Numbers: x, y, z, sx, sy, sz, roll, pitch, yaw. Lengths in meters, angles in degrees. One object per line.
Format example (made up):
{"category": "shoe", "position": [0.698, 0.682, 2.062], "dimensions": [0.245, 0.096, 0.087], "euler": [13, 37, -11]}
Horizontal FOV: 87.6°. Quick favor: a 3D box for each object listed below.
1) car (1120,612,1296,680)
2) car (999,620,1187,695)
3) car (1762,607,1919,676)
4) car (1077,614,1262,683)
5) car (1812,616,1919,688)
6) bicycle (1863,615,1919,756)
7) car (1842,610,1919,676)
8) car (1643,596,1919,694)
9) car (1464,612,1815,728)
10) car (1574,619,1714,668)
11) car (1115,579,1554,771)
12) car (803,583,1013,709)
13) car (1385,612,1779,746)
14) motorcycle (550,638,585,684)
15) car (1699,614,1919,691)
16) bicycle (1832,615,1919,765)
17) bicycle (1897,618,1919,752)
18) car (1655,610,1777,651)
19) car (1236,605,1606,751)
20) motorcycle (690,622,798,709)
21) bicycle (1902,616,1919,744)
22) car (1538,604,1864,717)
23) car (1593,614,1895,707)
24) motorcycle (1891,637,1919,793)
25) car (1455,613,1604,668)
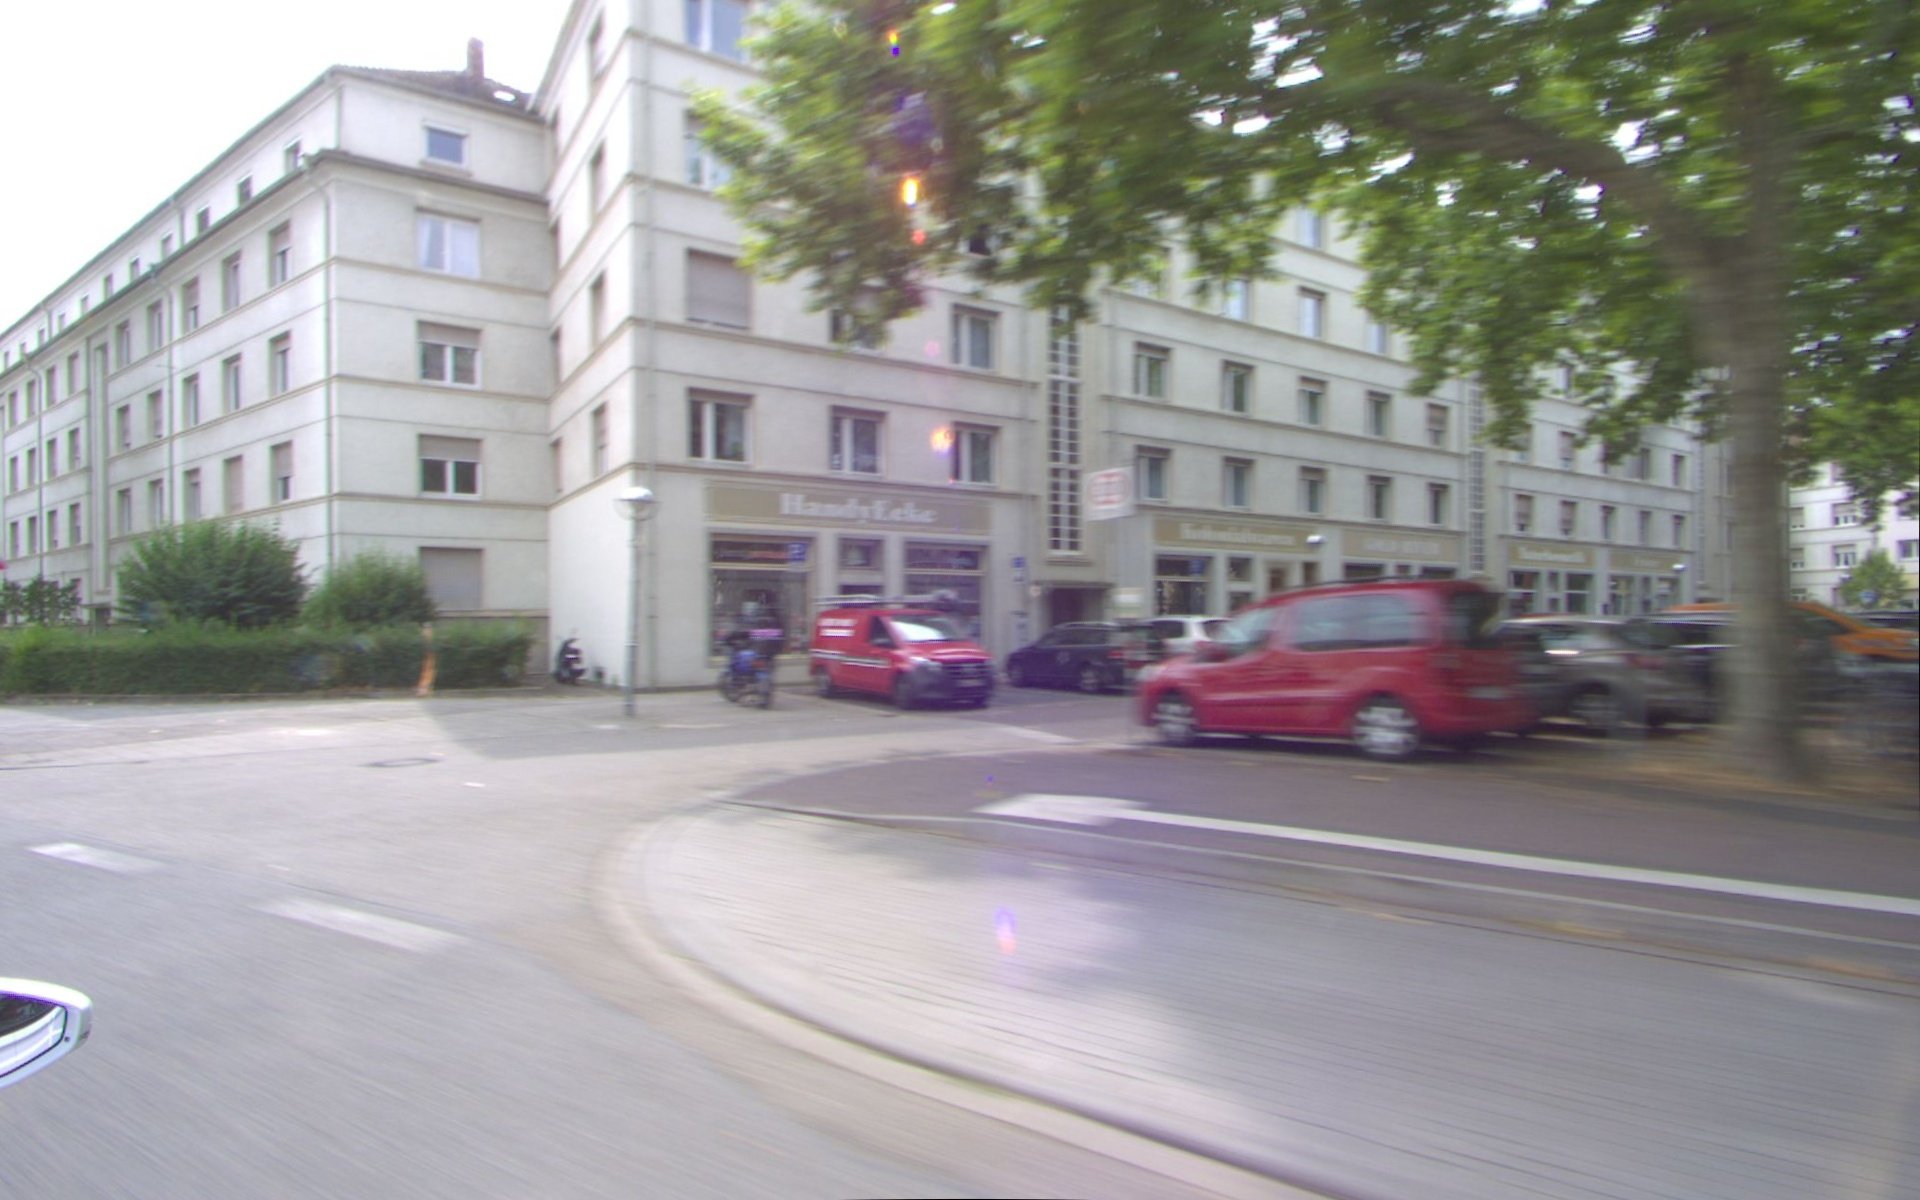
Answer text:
{"category": "car", "position": [6.310, 1.146, 25.909], "dimensions": [1.974, 1.611, 4.168], "euler": [0, -2, -34]}
{"category": "car", "position": [2.919, 1.244, 22.793], "dimensions": [1.974, 1.523, 4.168], "euler": [0, -2, -34]}
{"category": "car", "position": [20.790, 0.905, 22.490], "dimensions": [1.976, 1.483, 3.971], "euler": [0, -2, -37]}
{"category": "car", "position": [4.943, 1.129, 24.142], "dimensions": [1.974, 1.506, 4.168], "euler": [0, -2, -34]}
{"category": "car", "position": [22.989, 1.200, 23.545], "dimensions": [1.976, 1.639, 4.174], "euler": [0, -1, -37]}
{"category": "bicycle", "position": [9.973, 0.833, 9.359], "dimensions": [0.414, 1.396, 2.302], "euler": [0, -1, -25]}
{"category": "car", "position": [25.291, 1.083, 25.461], "dimensions": [1.975, 1.661, 3.972], "euler": [0, -1, -36]}
{"category": "car", "position": [16.452, 0.848, 19.780], "dimensions": [1.976, 1.717, 4.527], "euler": [0, -1, -37]}
{"category": "car", "position": [10.077, 0.964, 15.104], "dimensions": [1.976, 1.483, 3.971], "euler": [0, -2, -37]}
{"category": "car", "position": [26.008, 1.634, 38.190], "dimensions": [1.975, 1.750, 3.973], "euler": [0, -2, -35]}
{"category": "car", "position": [3.989, 0.745, 11.317], "dimensions": [1.916, 1.728, 4.299], "euler": [0, -2, -37]}
{"category": "car", "position": [-1.183, 0.872, 19.956], "dimensions": [1.974, 2.177, 4.813], "euler": [0, -2, -34]}
{"category": "car", "position": [8.083, 0.945, 13.414], "dimensions": [1.728, 1.483, 4.159], "euler": [0, -1, -33]}
{"category": "motorcycle", "position": [-9.377, 1.446, 23.897], "dimensions": [0.428, 1.029, 1.438], "euler": [0, 0, -36]}
{"category": "car", "position": [18.392, 1.069, 21.253], "dimensions": [1.976, 1.483, 3.971], "euler": [0, -2, -37]}
{"category": "bicycle", "position": [9.415, 0.851, 9.068], "dimensions": [0.414, 1.396, 2.302], "euler": [0, 0, -25]}
{"category": "bicycle", "position": [10.560, 0.857, 9.598], "dimensions": [0.414, 1.396, 2.303], "euler": [0, -1, -25]}
{"category": "car", "position": [33.972, 1.374, 45.062], "dimensions": [1.975, 1.750, 3.973], "euler": [0, -2, -35]}
{"category": "car", "position": [5.777, 0.901, 12.964], "dimensions": [1.811, 1.572, 3.971], "euler": [0, -1, -37]}
{"category": "motorcycle", "position": [-3.997, 1.160, 18.412], "dimensions": [2.281, 1.481, 0.827], "euler": [0, 0, 44]}
{"category": "bicycle", "position": [11.045, 0.853, 10.069], "dimensions": [0.414, 1.396, 2.302], "euler": [0, -1, -25]}
{"category": "car", "position": [12.148, 0.931, 16.639], "dimensions": [1.976, 1.619, 3.971], "euler": [0, -1, -37]}
{"category": "car", "position": [14.150, 1.034, 18.263], "dimensions": [1.976, 1.483, 3.971], "euler": [0, -2, -37]}
{"category": "motorcycle", "position": [7.804, 0.918, 7.701], "dimensions": [0.523, 1.238, 1.852], "euler": [0, -1, 29]}
{"category": "car", "position": [19.356, 1.361, 34.158], "dimensions": [1.975, 1.750, 3.973], "euler": [0, -2, -35]}
